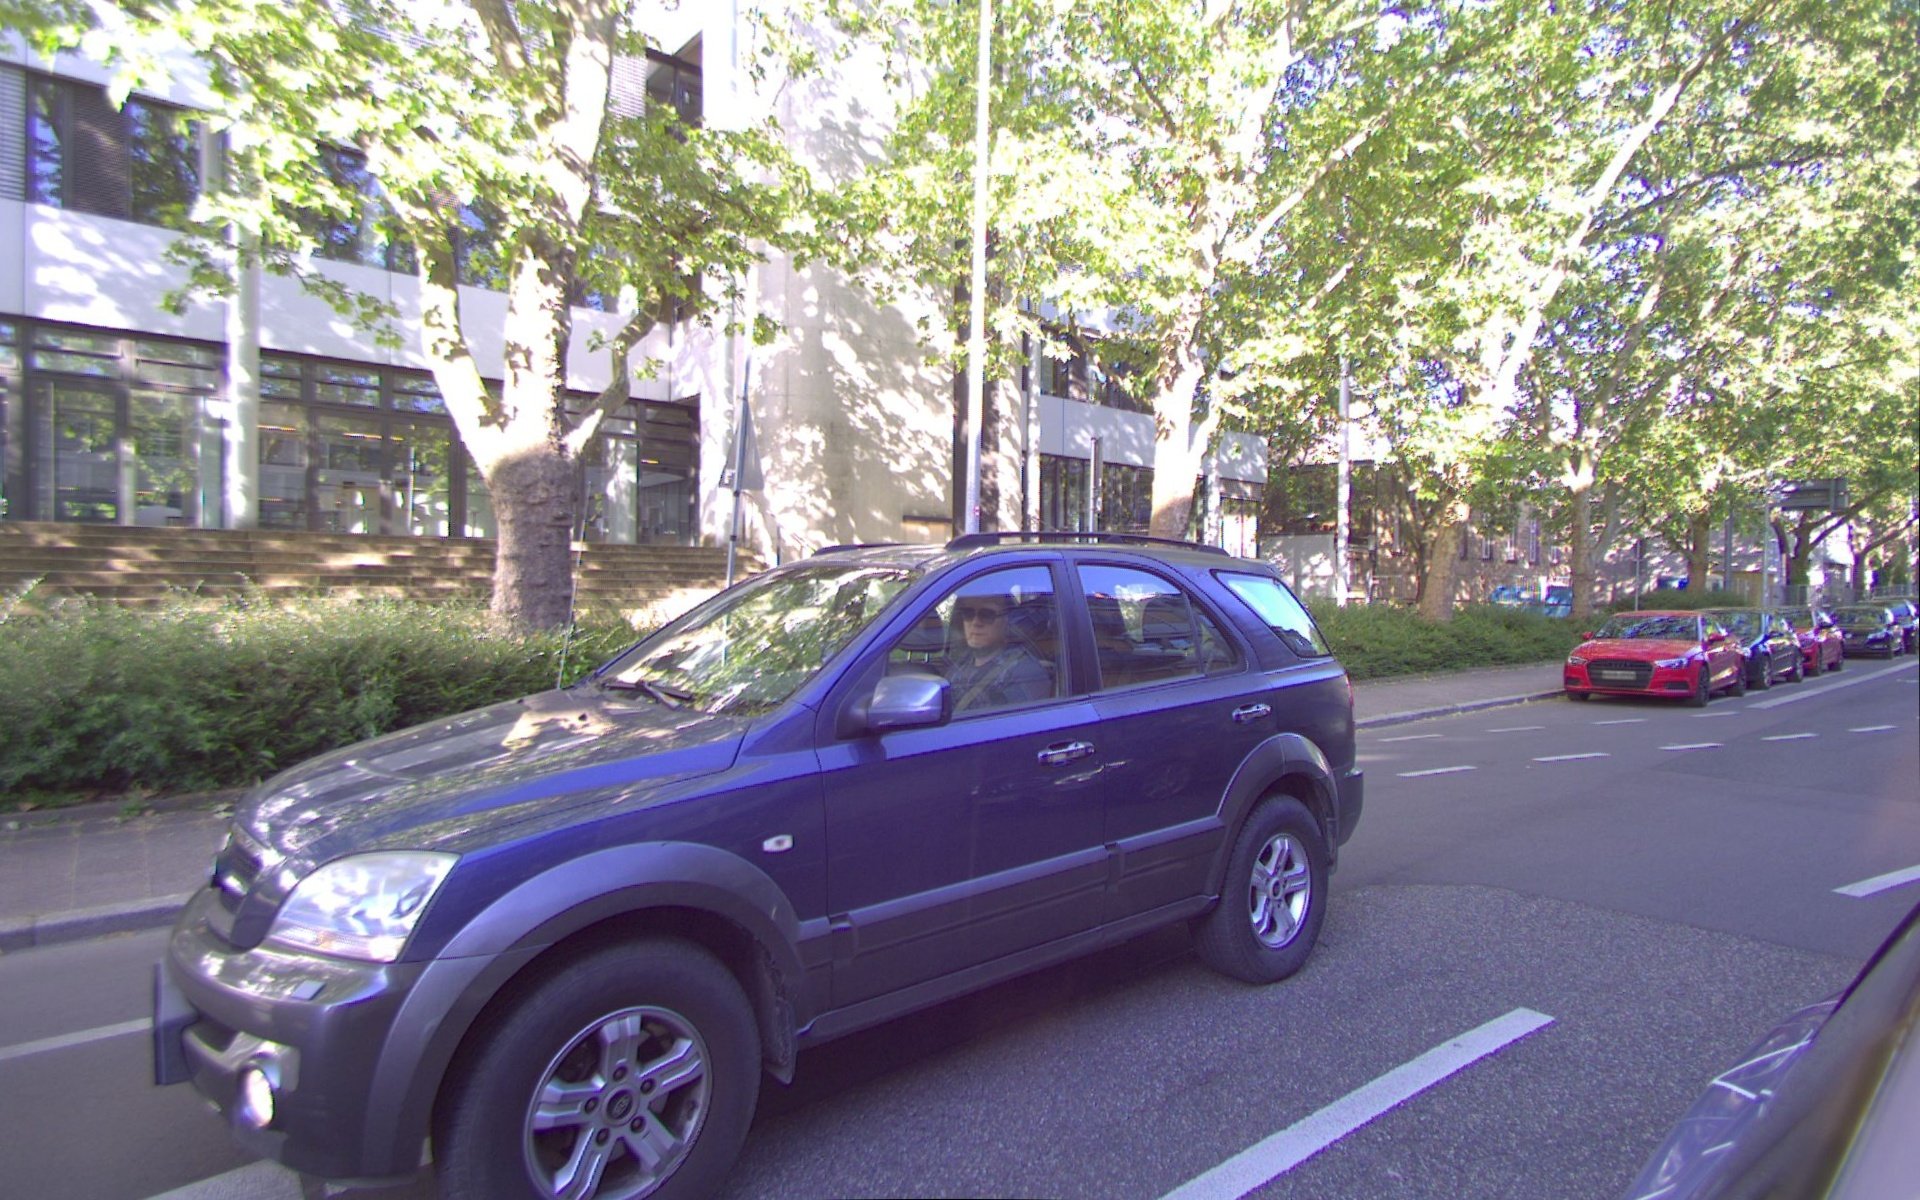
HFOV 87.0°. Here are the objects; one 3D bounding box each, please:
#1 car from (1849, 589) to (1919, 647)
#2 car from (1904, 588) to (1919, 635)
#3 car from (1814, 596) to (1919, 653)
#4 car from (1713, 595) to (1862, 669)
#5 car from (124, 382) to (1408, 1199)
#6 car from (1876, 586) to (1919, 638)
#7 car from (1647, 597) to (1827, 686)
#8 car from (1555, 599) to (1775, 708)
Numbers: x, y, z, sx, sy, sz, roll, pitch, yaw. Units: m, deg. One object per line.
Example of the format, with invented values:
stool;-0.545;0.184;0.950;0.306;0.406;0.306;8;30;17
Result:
car;29.565;0.516;31.797;4.403;1.689;1.865;0;0;-41
car;38.870;0.446;39.957;4.403;1.781;1.865;0;0;-41
car;25.785;0.623;28.603;4.403;1.469;1.865;0;0;-41
car;18.429;0.638;22.469;4.403;1.469;1.865;0;0;-41
car;-0.260;0.526;3.788;4.403;1.786;1.865;0;0;-41
car;33.903;0.397;35.687;4.403;1.781;1.865;0;0;-41
car;14.761;0.694;19.132;4.403;1.469;1.865;0;0;-41
car;11.313;0.740;16.132;4.403;1.469;1.865;0;0;-41
